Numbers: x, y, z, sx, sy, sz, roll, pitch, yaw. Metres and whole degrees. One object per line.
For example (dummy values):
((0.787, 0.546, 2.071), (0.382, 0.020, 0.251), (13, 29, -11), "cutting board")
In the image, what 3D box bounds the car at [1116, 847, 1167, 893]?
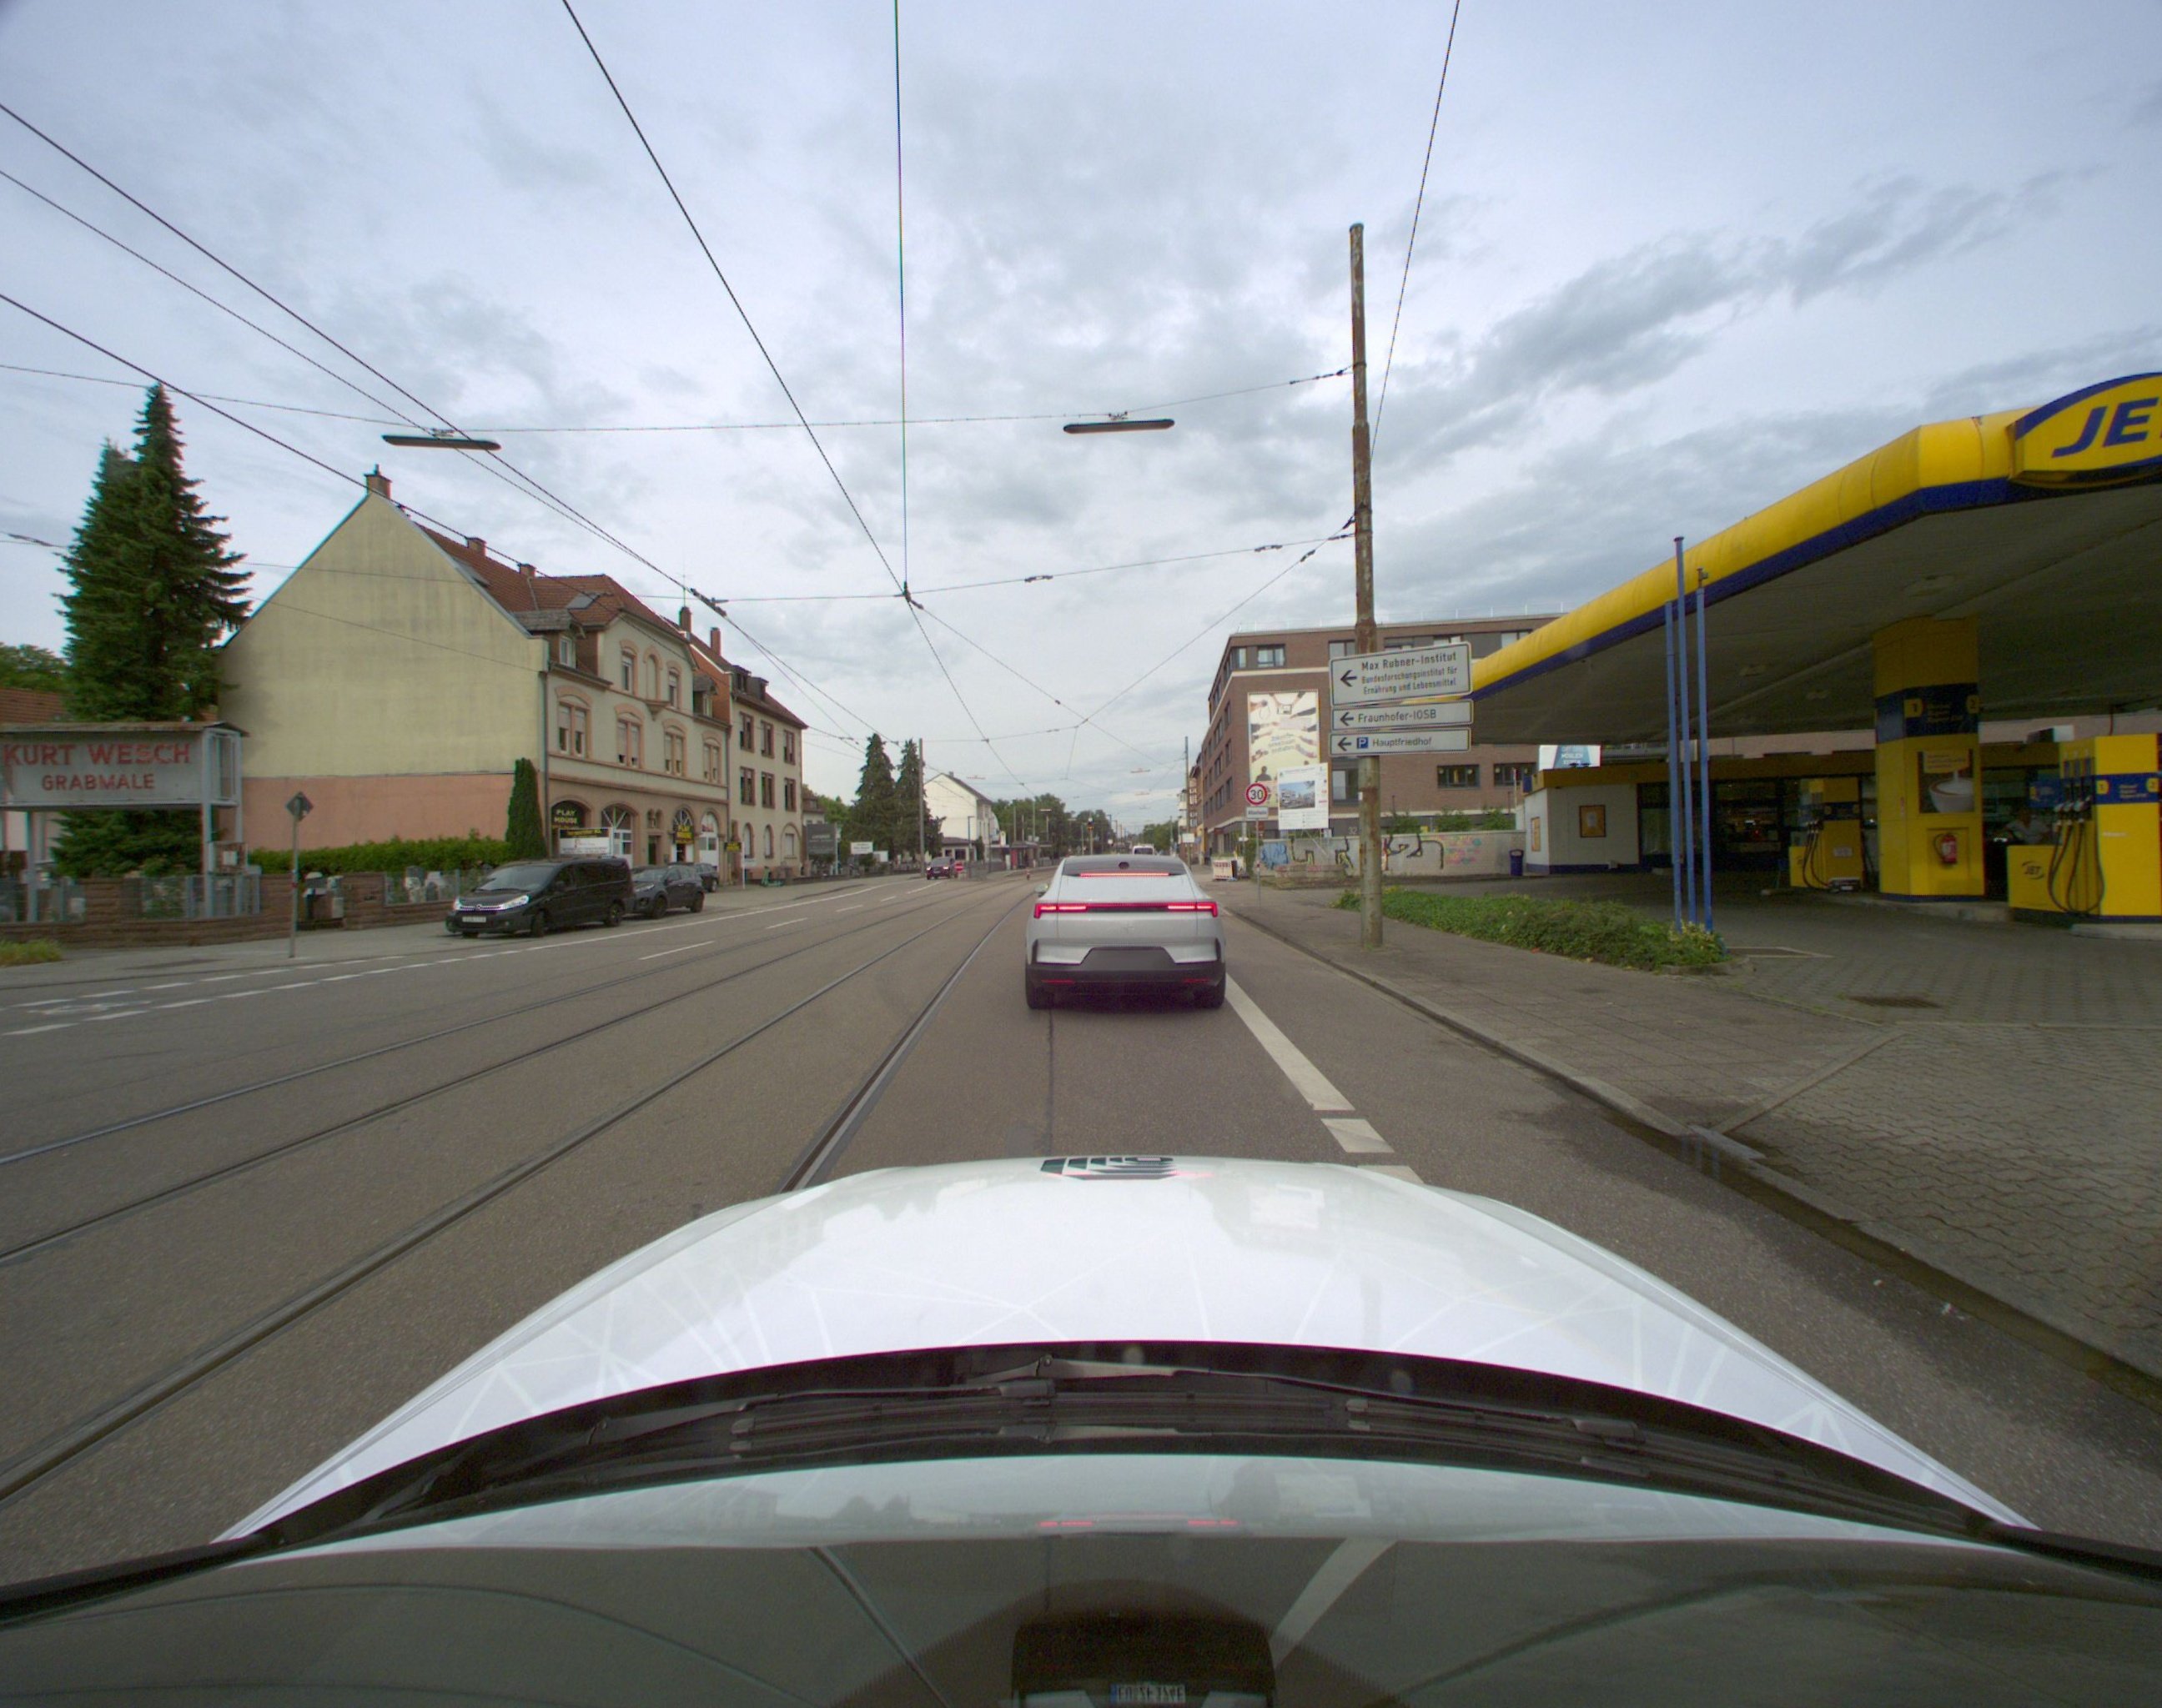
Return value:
((2.528, 0.652, 34.882), (1.986, 1.816, 4.002), (-2, 0, 2), "car")

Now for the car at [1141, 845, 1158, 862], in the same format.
((8.547, -0.032, 101.787), (1.986, 2.014, 4.002), (0, -1, 2), "car")

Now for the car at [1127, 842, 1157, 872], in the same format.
((5.077, 0.280, 68.296), (2.217, 2.402, 5.125), (0, -1, 2), "car")

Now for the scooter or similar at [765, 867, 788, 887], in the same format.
((-17.863, 1.335, 47.733), (1.181, 1.102, 0.523), (0, -1, -29), "scooter or similar")

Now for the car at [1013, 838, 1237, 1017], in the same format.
((0.423, 0.678, 9.266), (1.992, 1.581, 4.000), (0, -1, 1), "car")

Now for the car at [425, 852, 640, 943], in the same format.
((-13.675, 0.991, 20.811), (1.981, 2.014, 5.183), (0, -1, -1), "car")

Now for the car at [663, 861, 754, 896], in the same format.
((-17.387, 1.117, 38.337), (1.987, 1.493, 4.902), (-1, 0, 0), "car")

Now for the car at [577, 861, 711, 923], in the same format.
((-14.092, 1.155, 26.609), (2.032, 1.749, 4.531), (1, 0, -2), "car")

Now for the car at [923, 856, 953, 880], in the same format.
((-10.847, 1.018, 62.002), (1.839, 1.724, 4.399), (-1, 0, -5), "car")

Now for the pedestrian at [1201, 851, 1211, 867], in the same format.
((14.758, 0.594, 95.973), (0.954, 1.850, 0.978), (-4, 0, 11), "pedestrian")

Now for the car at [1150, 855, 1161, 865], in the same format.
((14.879, 1.271, 163.703), (1.986, 2.014, 4.001), (0, -1, 2), "car")

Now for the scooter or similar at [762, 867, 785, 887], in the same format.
((-17.694, 1.327, 46.913), (1.181, 1.102, 0.523), (0, -1, -29), "scooter or similar")

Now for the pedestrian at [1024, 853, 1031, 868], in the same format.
((-5.792, 0.684, 87.988), (0.612, 1.664, 0.699), (-1, -1, 7), "pedestrian")

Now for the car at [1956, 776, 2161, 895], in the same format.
((19.260, -0.328, 15.431), (1.803, 1.988, 4.275), (-3, -1, 19), "car")

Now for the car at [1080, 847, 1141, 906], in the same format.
((0.985, 0.672, 25.422), (1.673, 1.687, 3.829), (-1, -1, 5), "car")

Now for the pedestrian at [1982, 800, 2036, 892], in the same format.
((18.431, -0.155, 16.192), (0.619, 1.787, 0.712), (-1, -1, 43), "pedestrian")
